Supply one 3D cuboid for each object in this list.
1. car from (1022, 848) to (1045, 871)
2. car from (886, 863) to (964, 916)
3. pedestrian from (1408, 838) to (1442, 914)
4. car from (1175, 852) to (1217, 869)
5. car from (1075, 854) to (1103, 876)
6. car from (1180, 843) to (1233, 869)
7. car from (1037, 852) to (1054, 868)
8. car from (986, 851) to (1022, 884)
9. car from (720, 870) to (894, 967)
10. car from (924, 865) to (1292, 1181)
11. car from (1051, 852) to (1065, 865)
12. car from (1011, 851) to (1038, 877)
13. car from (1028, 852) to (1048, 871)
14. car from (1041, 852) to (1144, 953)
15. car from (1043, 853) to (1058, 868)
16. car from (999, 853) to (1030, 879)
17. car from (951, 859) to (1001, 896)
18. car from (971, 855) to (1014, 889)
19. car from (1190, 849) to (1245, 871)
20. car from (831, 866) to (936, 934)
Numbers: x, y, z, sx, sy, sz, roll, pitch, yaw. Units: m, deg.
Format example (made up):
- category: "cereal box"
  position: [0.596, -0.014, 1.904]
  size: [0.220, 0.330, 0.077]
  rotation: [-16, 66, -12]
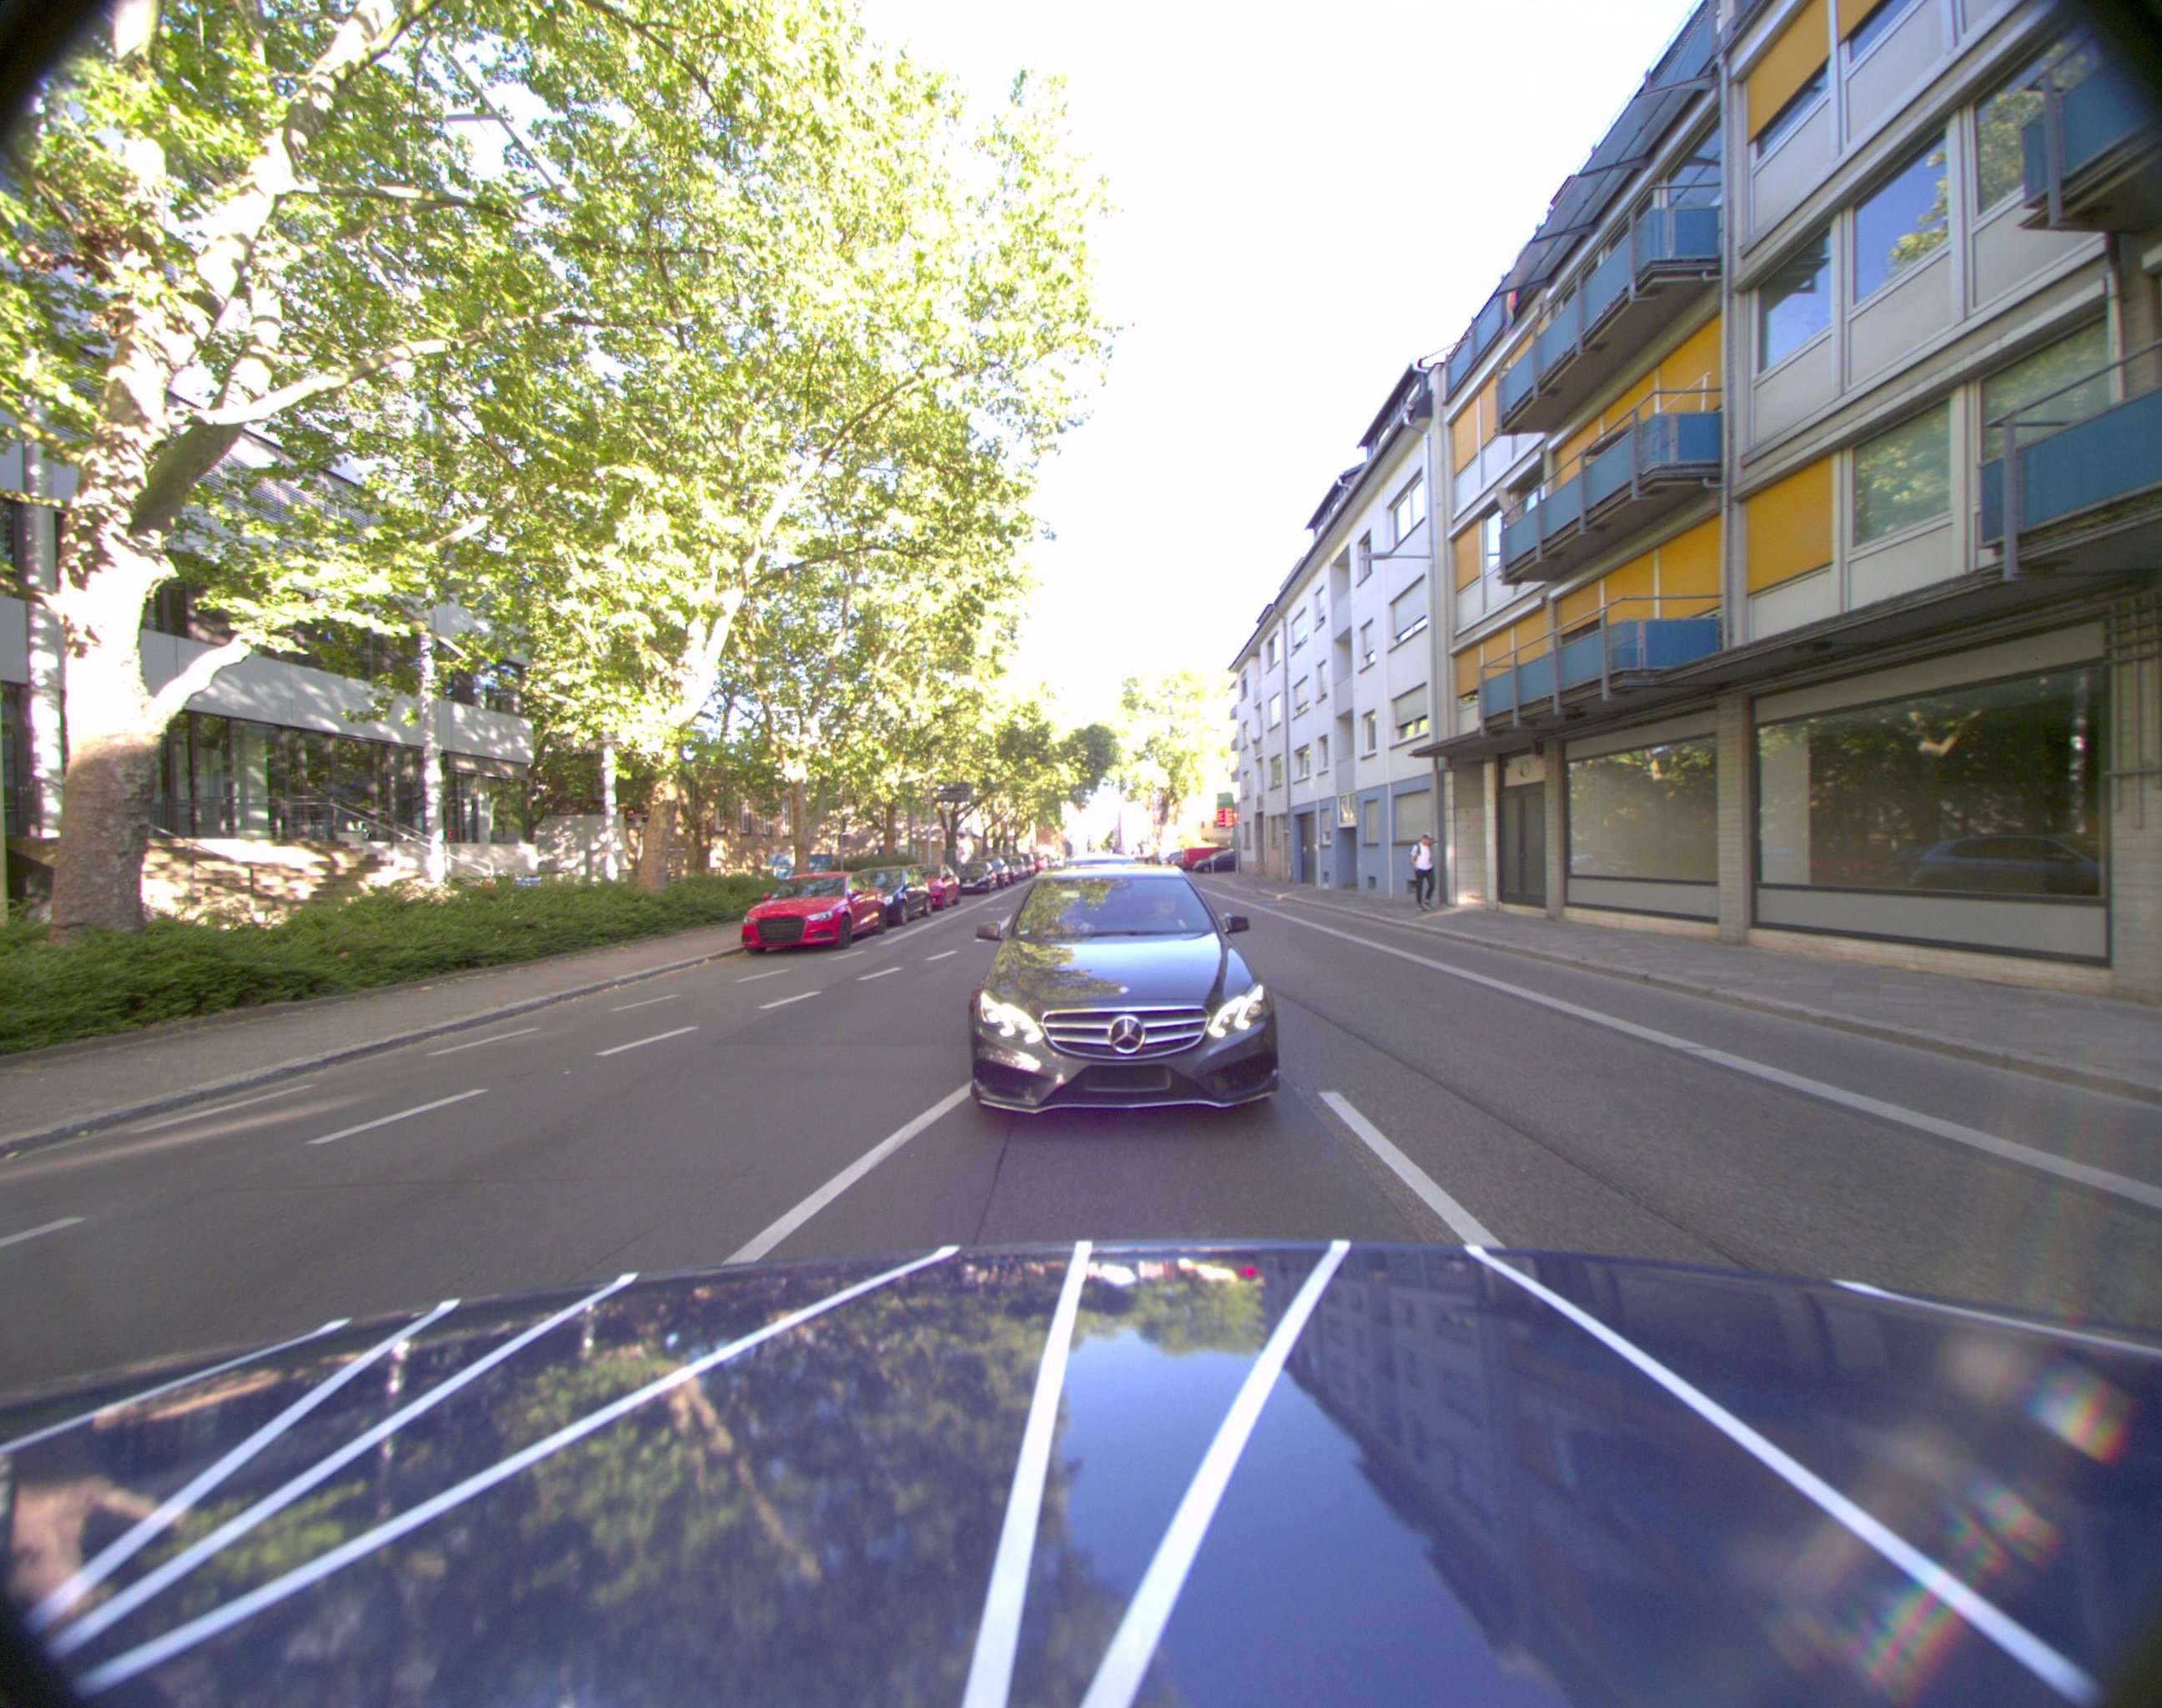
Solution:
- category: "car"
  position: [-4.197, 0.492, 67.414]
  size: [1.635, 1.878, 3.673]
  rotation: [-3, 0, 1]
- category: "car"
  position: [-4.997, 1.085, 24.811]
  size: [1.635, 1.455, 3.740]
  rotation: [-3, 0, 1]
- category: "pedestrian"
  position: [7.969, 0.507, 17.615]
  size: [0.569, 1.716, 0.343]
  rotation: [-3, 1, 1]
- category: "car"
  position: [9.653, 0.503, 63.923]
  size: [3.325, 1.241, 1.295]
  rotation: [-3, 1, 1]
- category: "car"
  position: [0.592, 0.766, 55.125]
  size: [1.853, 1.455, 4.098]
  rotation: [-3, 0, 1]
- category: "car"
  position: [10.095, 0.138, 61.252]
  size: [3.927, 1.912, 1.636]
  rotation: [-3, 1, 1]
- category: "car"
  position: [-4.010, 0.615, 87.190]
  size: [1.635, 1.713, 3.673]
  rotation: [-3, 0, 1]
- category: "car"
  position: [-4.569, 0.754, 45.345]
  size: [1.635, 1.795, 3.845]
  rotation: [-3, 0, 1]
- category: "car"
  position: [-5.161, 1.131, 14.961]
  size: [1.804, 1.455, 4.125]
  rotation: [-3, 0, 1]
- category: "car"
  position: [0.166, 0.893, 5.936]
  size: [1.804, 1.455, 4.125]
  rotation: [-3, 0, 1]
- category: "car"
  position: [-3.112, 0.566, 104.033]
  size: [1.635, 1.713, 3.673]
  rotation: [-3, 0, 1]
- category: "car"
  position: [-4.167, 0.706, 56.790]
  size: [1.635, 1.799, 3.673]
  rotation: [-3, 0, 1]
- category: "car"
  position: [-4.060, 0.682, 72.430]
  size: [1.635, 1.713, 3.673]
  rotation: [-3, 0, 1]
- category: "car"
  position: [0.216, 0.823, 15.014]
  size: [1.680, 1.622, 4.125]
  rotation: [-3, 0, 1]
- category: "car"
  position: [-3.708, 0.725, 93.339]
  size: [1.635, 1.713, 3.673]
  rotation: [-3, 0, 1]
- category: "car"
  position: [-4.492, 0.783, 51.963]
  size: [1.635, 1.644, 3.845]
  rotation: [-3, 0, 1]
- category: "car"
  position: [-4.697, 1.014, 34.348]
  size: [1.635, 1.455, 3.740]
  rotation: [-3, 0, 1]
- category: "car"
  position: [-4.539, 0.880, 39.397]
  size: [1.635, 1.578, 3.845]
  rotation: [-3, 0, 1]
- category: "car"
  position: [10.028, 0.448, 55.942]
  size: [3.670, 1.403, 1.636]
  rotation: [-3, 1, 1]
- category: "car"
  position: [-5.018, 1.106, 19.805]
  size: [1.635, 1.455, 3.740]
  rotation: [-3, 0, 1]
